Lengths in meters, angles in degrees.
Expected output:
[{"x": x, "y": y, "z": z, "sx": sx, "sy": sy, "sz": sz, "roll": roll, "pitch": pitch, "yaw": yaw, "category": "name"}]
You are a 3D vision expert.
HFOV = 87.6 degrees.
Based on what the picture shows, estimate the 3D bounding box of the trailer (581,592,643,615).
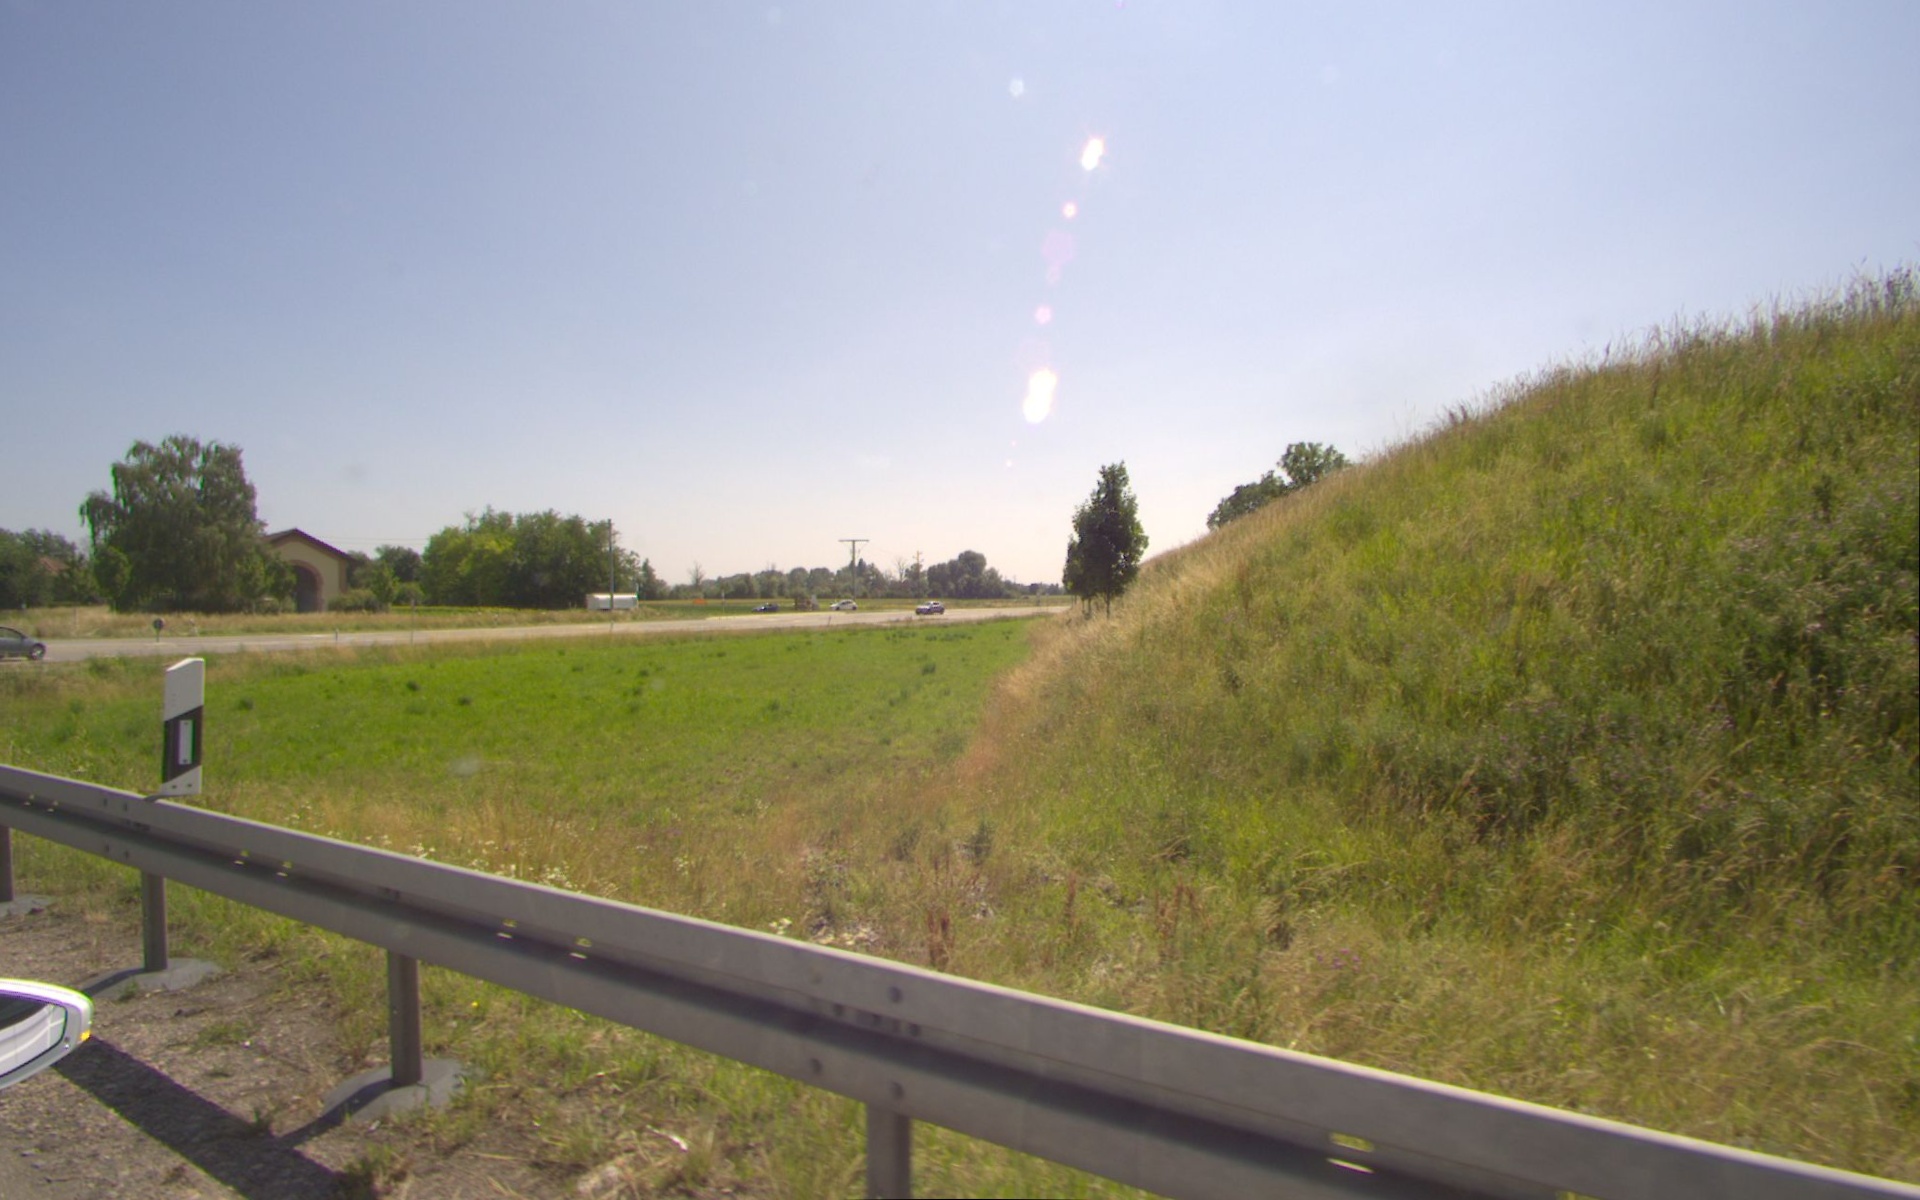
[{"x": -39.489, "y": 0.385, "z": 113.762, "sx": 2.651, "sy": 2.489, "sz": 6.340, "roll": 2, "pitch": 2, "yaw": 36, "category": "trailer"}]

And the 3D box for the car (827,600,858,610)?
[{"x": -16.215, "y": 0.712, "z": 137.870, "sx": 3.968, "sy": 1.350, "sz": 1.692, "roll": 1, "pitch": 1, "yaw": -20, "category": "car"}]

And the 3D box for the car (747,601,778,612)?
[{"x": -25.221, "y": 0.807, "z": 127.960, "sx": 1.659, "sy": 1.406, "sz": 3.809, "roll": 2, "pitch": 1, "yaw": 40, "category": "car"}]

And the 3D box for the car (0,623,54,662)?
[{"x": -38.970, "y": 1.713, "z": 40.302, "sx": 1.771, "sy": 1.541, "sz": 3.882, "roll": 0, "pitch": -1, "yaw": -6, "category": "car"}]

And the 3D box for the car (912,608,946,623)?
[{"x": -3.667, "y": 1.842, "z": 119.838, "sx": 1.845, "sy": 1.565, "sz": 4.524, "roll": 1, "pitch": 1, "yaw": 34, "category": "car"}]
